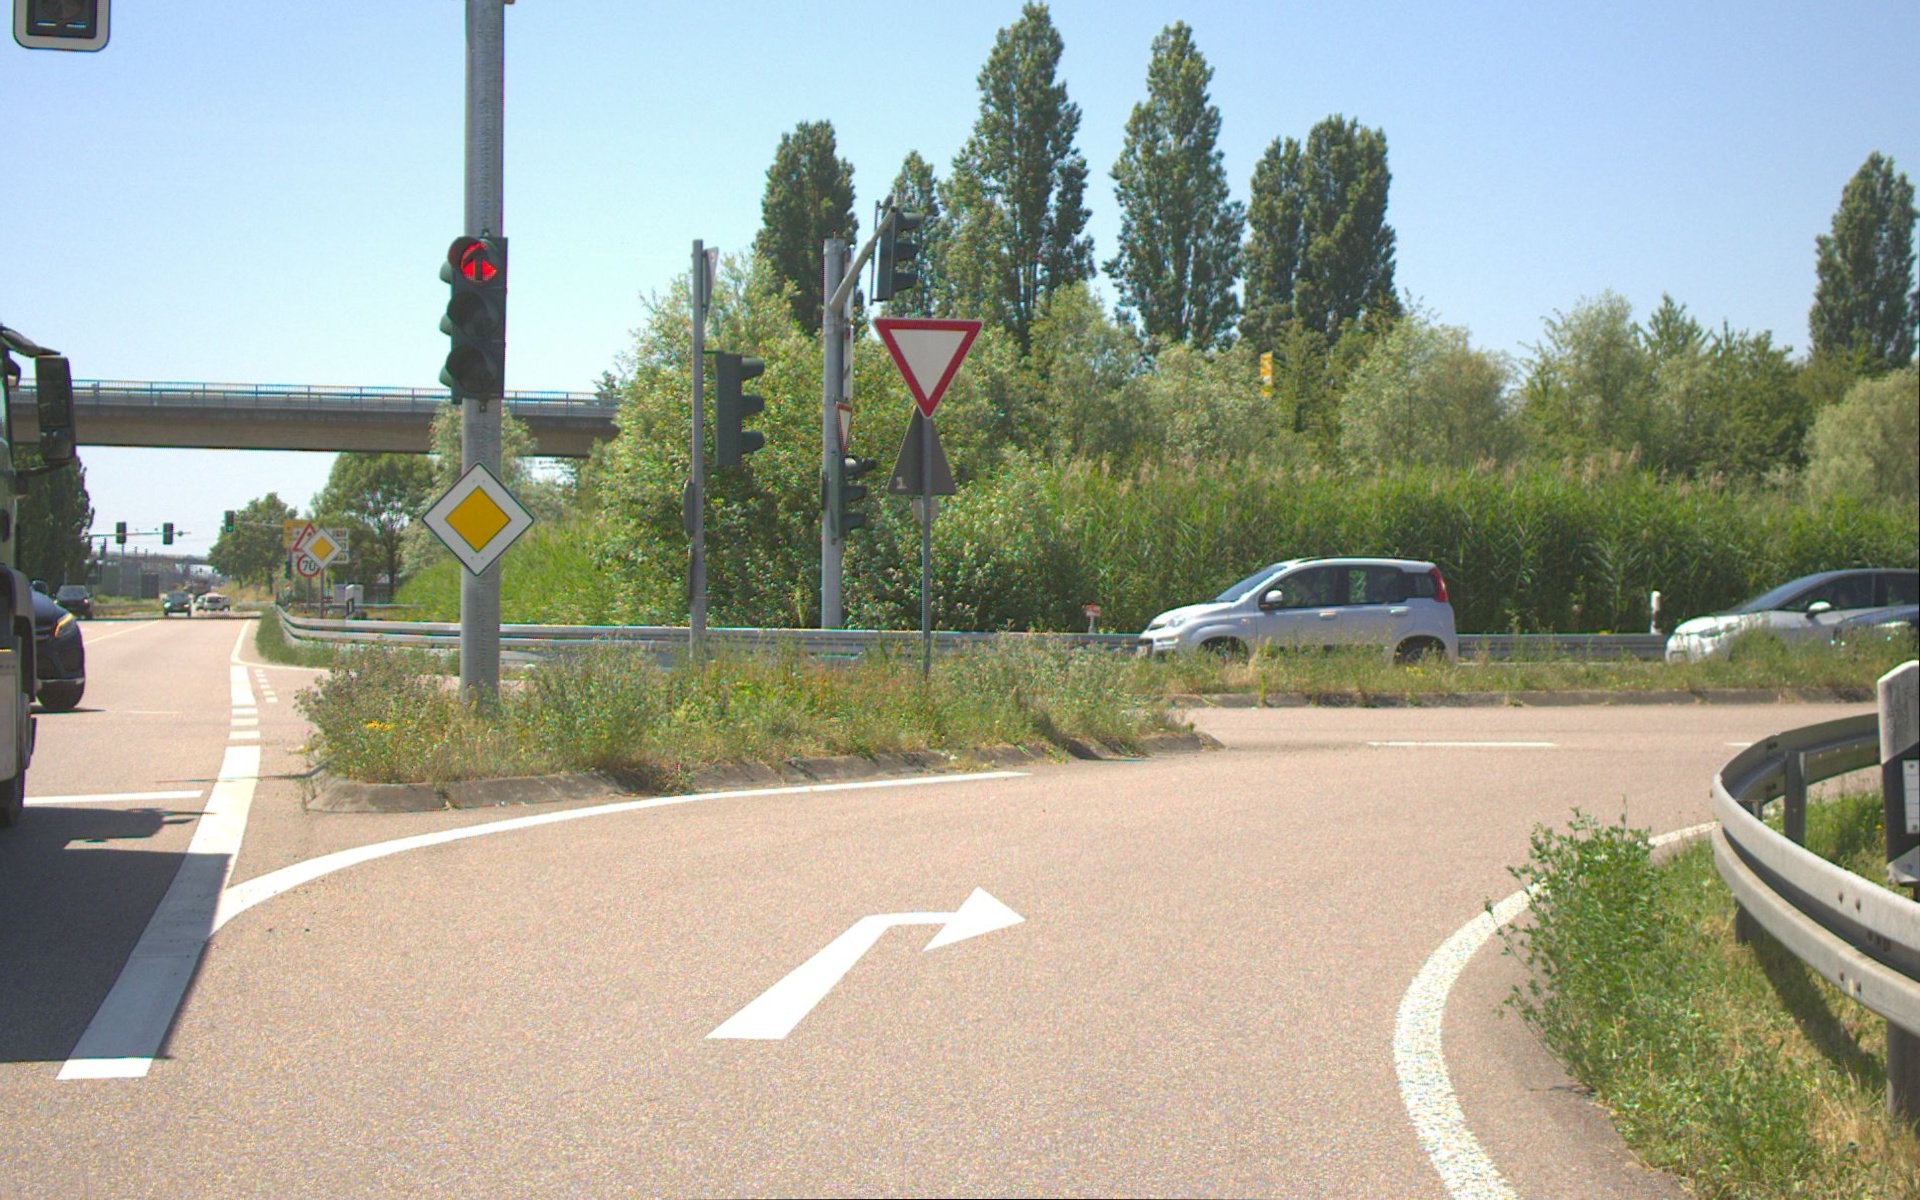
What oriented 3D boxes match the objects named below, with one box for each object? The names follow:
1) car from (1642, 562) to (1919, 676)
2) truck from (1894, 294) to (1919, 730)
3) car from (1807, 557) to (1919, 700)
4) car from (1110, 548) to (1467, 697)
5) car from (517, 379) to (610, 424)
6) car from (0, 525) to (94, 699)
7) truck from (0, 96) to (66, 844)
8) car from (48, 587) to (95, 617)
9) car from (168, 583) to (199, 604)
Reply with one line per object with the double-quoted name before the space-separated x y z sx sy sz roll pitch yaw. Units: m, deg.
"car" 11.125 0.215 43.726 4.391 1.393 2.000 0 0 -6
"truck" 14.043 -0.824 32.136 11.846 3.808 2.843 -1 0 -31
"car" 12.690 0.300 40.433 4.924 1.626 1.934 0 0 -8
"car" 3.704 0.233 39.078 3.705 1.626 1.735 0 0 -10
"car" -18.541 -9.265 160.712 4.175 2.007 2.001 0 0 -10
"car" -10.784 0.072 36.706 1.927 1.761 4.598 0 1 -28
"truck" -5.822 -0.626 15.520 2.589 3.725 9.577 0 1 -10
"car" -44.197 0.091 171.090 1.993 1.393 4.407 0 1 -11
"car" -53.671 -0.459 237.729 1.993 1.393 4.407 0 1 -11
